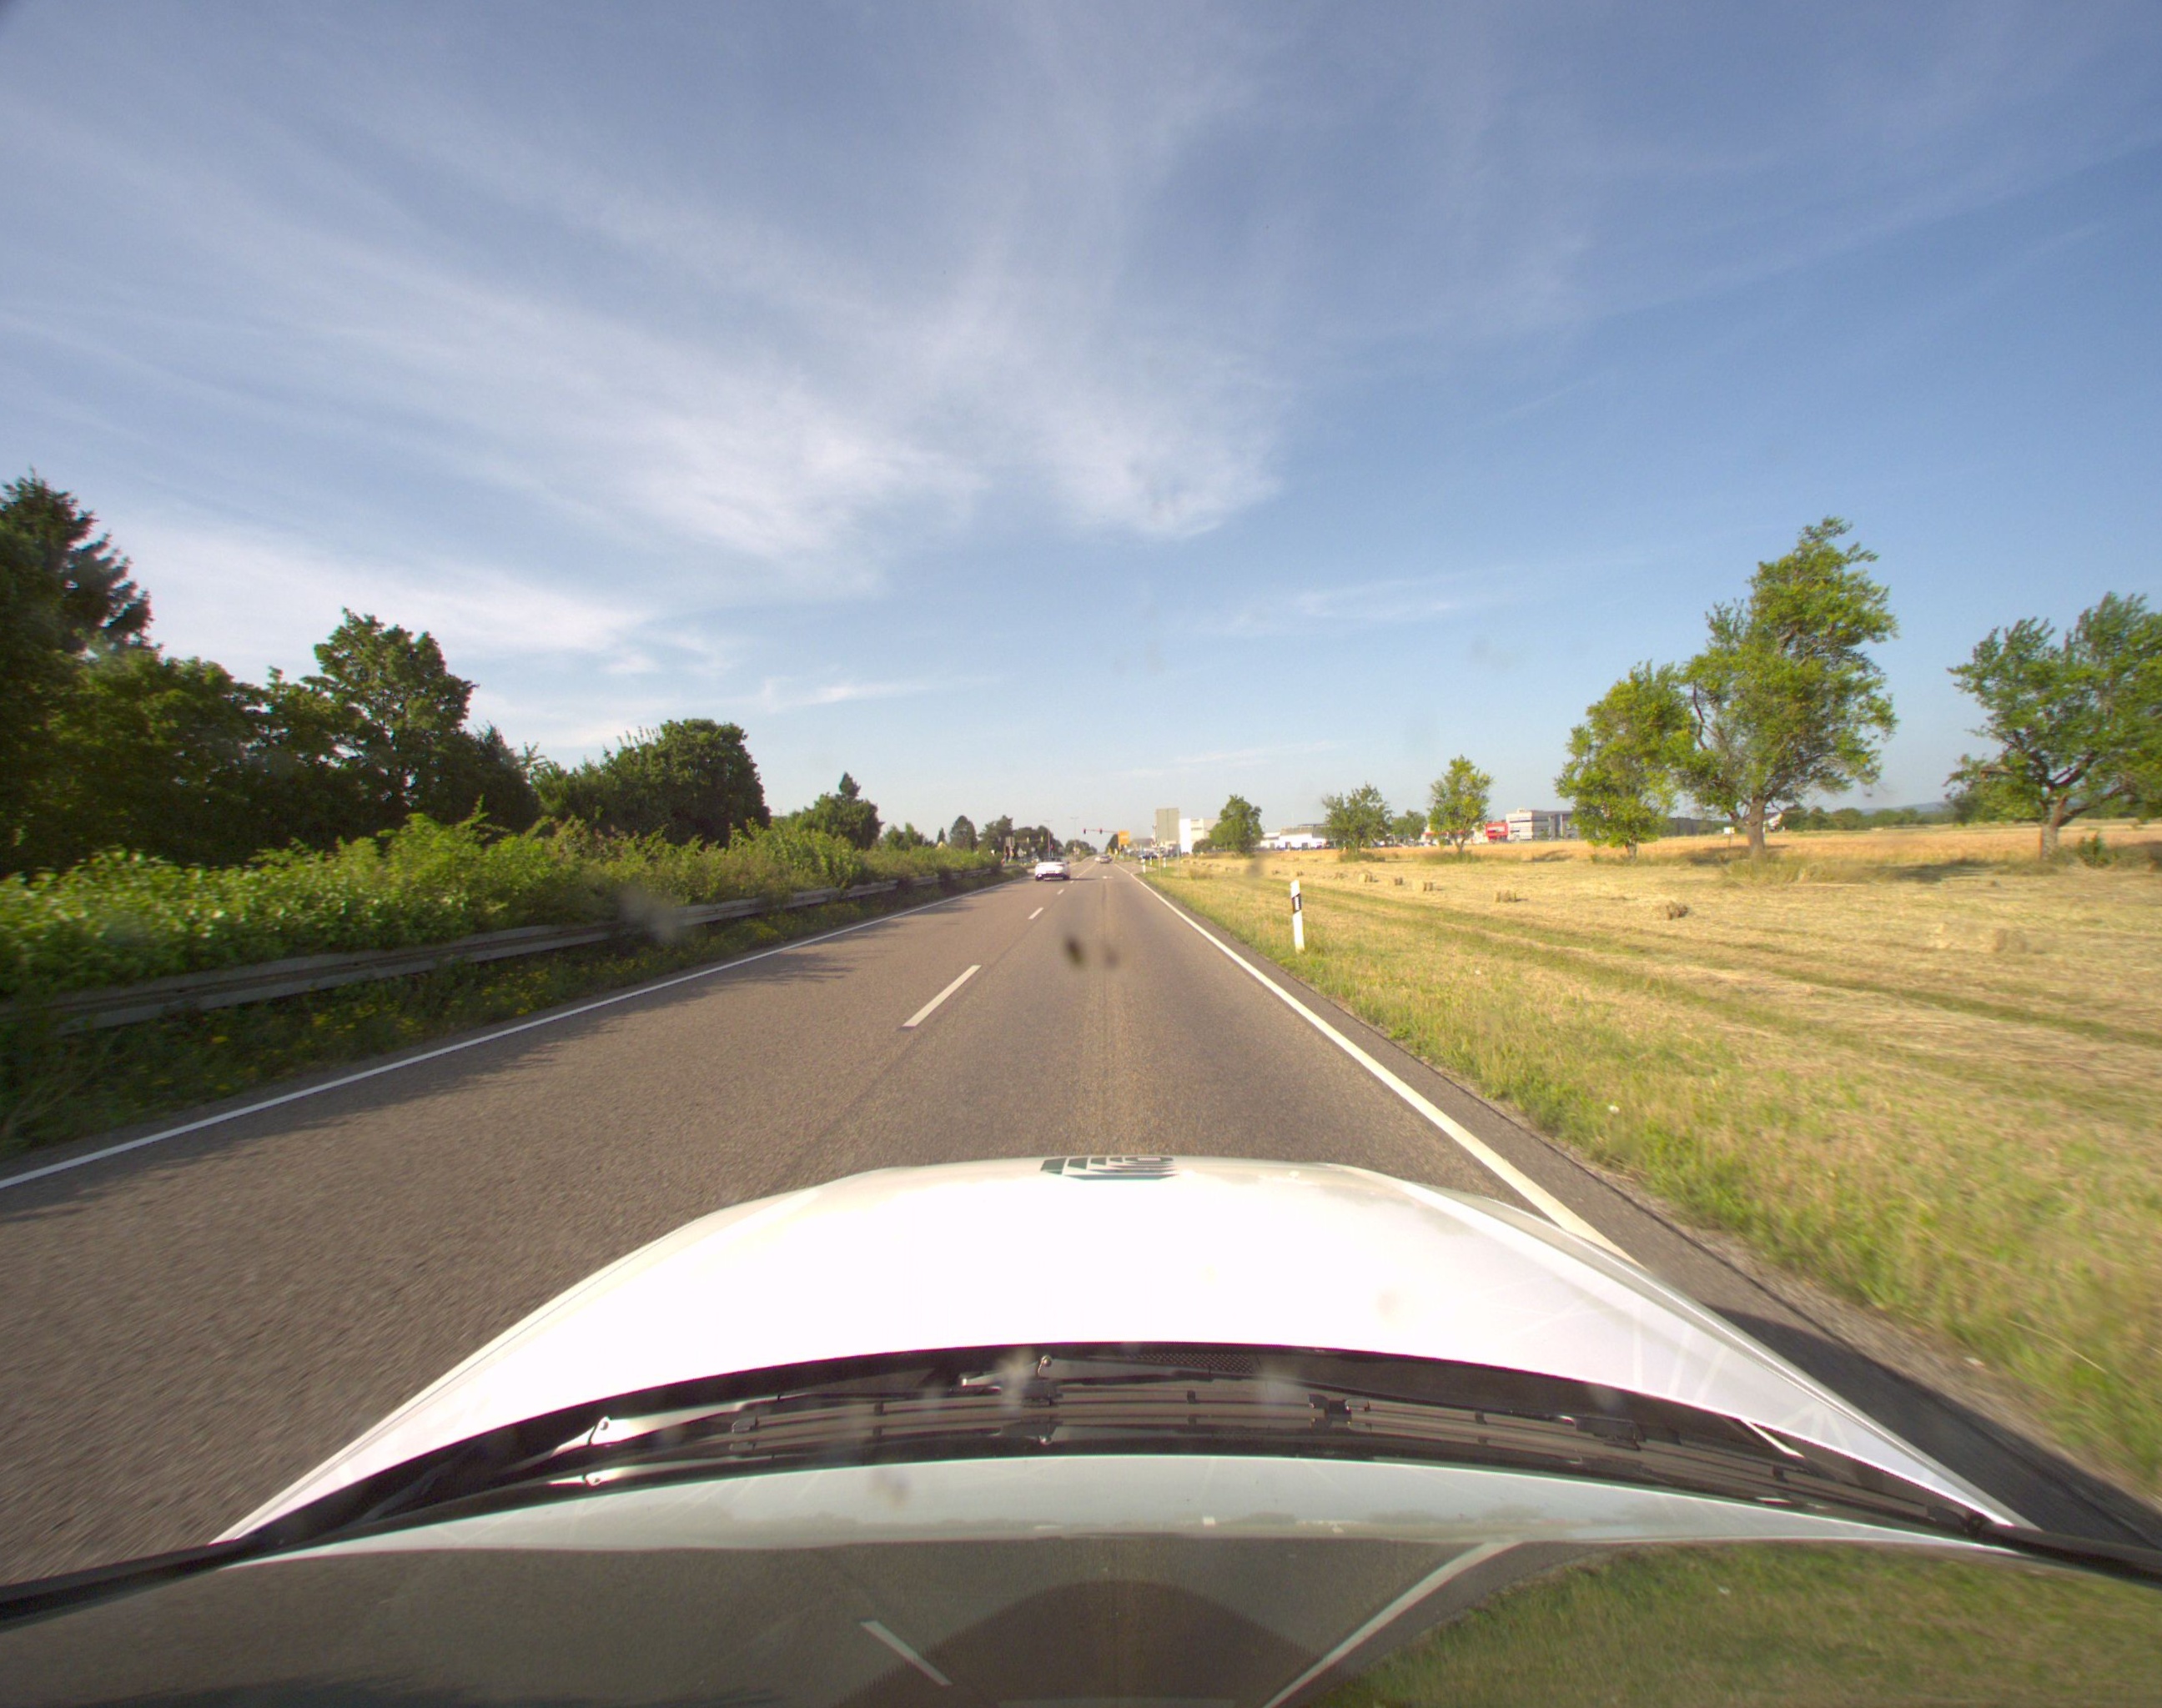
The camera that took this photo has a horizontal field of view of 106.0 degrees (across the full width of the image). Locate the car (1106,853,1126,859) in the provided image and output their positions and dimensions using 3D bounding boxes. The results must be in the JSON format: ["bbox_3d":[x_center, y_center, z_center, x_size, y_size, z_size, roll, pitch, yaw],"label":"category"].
[{"bbox_3d":[7.585,0.418,176.116,3.998,1.408,1.942,-1,0,-19],"label":"car"}]

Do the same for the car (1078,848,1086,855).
[{"bbox_3d":[0.226,-0.701,226.316,1.940,1.772,4.002,-1,0,2],"label":"car"}]

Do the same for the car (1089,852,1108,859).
[{"bbox_3d":[3.790,0.329,177.101,1.929,1.408,4.025,-1,0,42],"label":"car"}]

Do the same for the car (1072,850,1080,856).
[{"bbox_3d":[-1.385,-0.279,212.083,1.940,1.408,4.002,-1,0,2],"label":"car"}]

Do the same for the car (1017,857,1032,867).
[{"bbox_3d":[-9.271,1.274,134.194,1.987,1.486,4.227,-1,0,1],"label":"car"}]

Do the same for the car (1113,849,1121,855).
[{"bbox_3d":[10.034,-0.588,226.034,1.985,1.757,4.003,-1,0,3],"label":"car"}]

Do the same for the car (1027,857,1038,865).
[{"bbox_3d":[-9.029,1.271,151.454,1.722,1.408,4.002,-1,0,2],"label":"car"}]

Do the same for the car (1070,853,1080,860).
[{"bbox_3d":[-1.403,0.602,187.225,1.940,1.408,4.002,-1,0,2],"label":"car"}]

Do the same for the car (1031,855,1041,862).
[{"bbox_3d":[-10.813,1.048,194.438,1.940,1.800,4.002,-1,0,2],"label":"car"}]

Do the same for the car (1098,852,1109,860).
[{"bbox_3d":[4.207,0.329,152.122,1.987,1.486,4.000,-1,0,1],"label":"car"}]

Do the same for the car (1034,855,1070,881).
[{"bbox_3d":[-1.668,0.771,47.673,1.903,1.422,4.000,-1,0,1],"label":"car"}]
